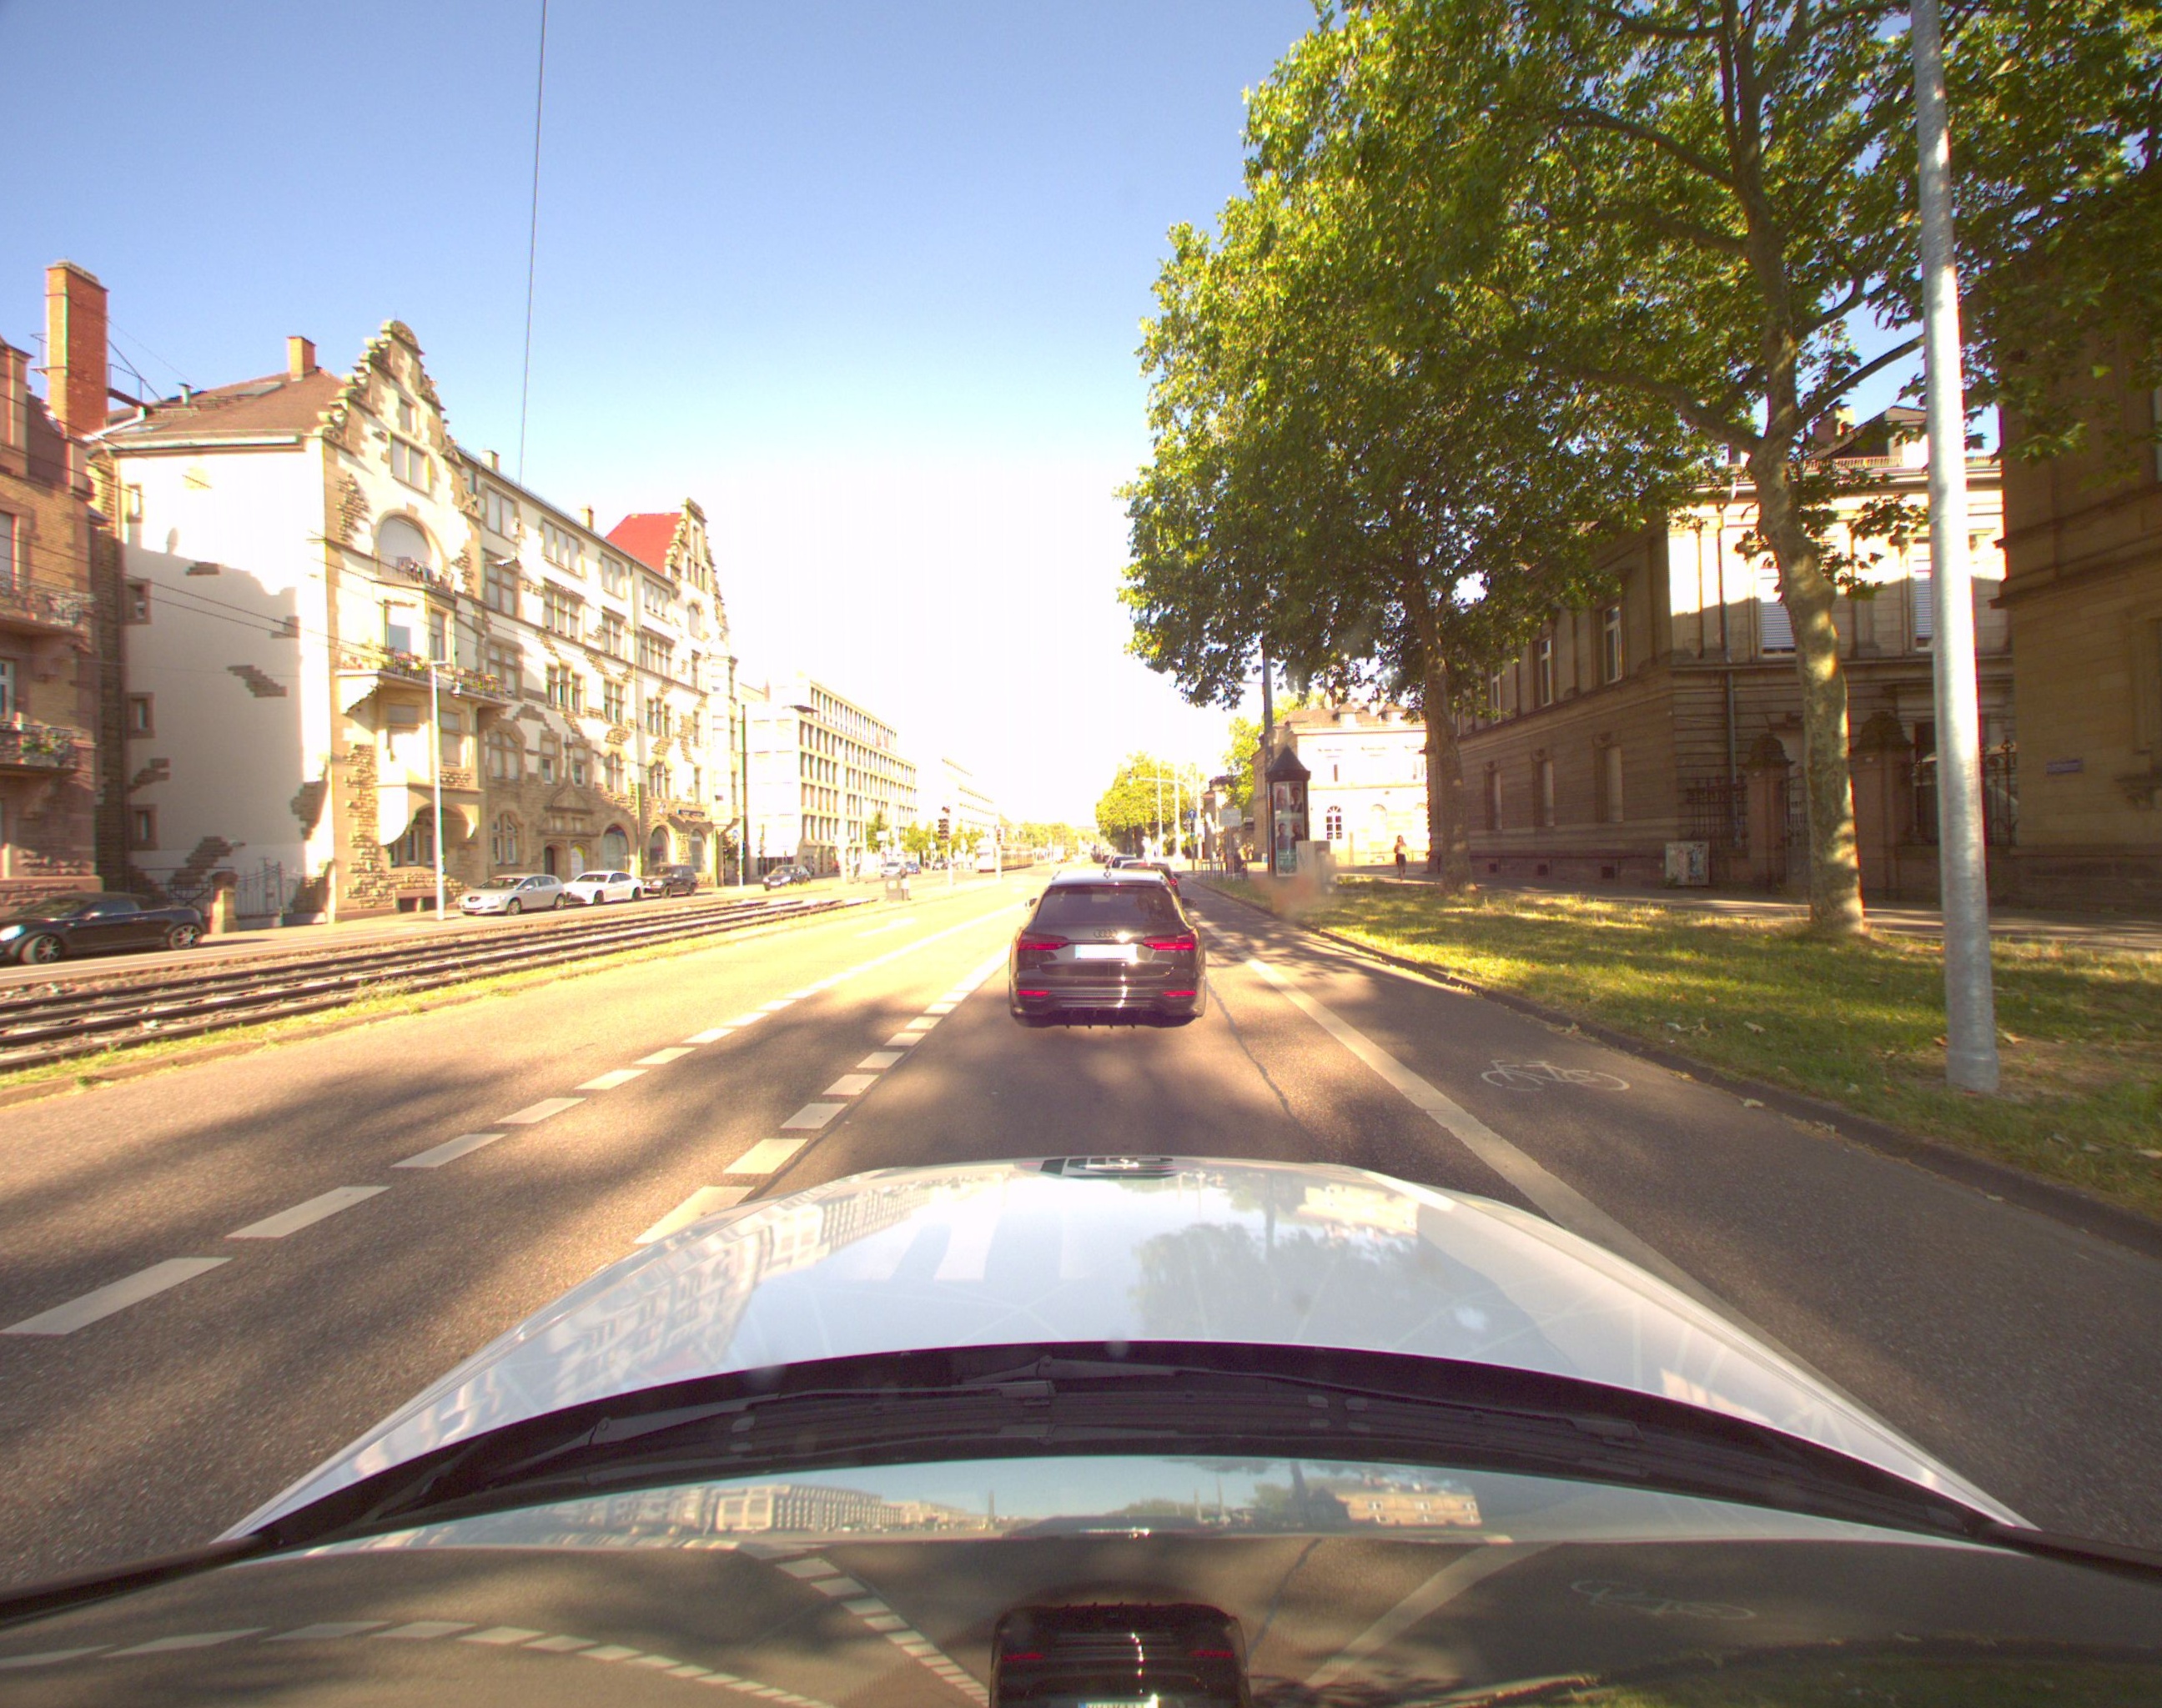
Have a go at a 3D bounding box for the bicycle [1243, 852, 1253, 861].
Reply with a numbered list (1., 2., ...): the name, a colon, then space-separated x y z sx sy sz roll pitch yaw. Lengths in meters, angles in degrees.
1. bicycle: 21.410 0.308 104.666 0.525 1.047 2.354 -2 0 -6

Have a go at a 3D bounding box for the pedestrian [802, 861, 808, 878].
1. pedestrian: -31.404 1.755 92.523 0.475 1.843 0.438 -2 0 -36

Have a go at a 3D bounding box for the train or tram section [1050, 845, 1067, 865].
1. train or tram section: -4.044 0.155 149.531 2.600 3.451 11.133 -2 0 1

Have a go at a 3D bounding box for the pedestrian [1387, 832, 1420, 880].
1. pedestrian: 11.820 0.074 29.867 0.766 1.709 1.043 -2 0 4

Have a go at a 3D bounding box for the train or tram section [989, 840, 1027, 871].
1. train or tram section: -8.925 0.121 101.367 2.802 3.489 13.211 -2 0 2

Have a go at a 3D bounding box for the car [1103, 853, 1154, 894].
1. car: 1.909 0.730 32.807 1.895 1.486 4.147 -1 0 3

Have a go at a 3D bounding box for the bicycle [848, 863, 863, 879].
1. bicycle: -20.375 1.560 73.630 0.682 1.382 1.949 -2 0 4

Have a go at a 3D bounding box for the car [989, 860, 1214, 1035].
1. car: 0.271 0.823 9.042 1.895 1.421 4.147 -1 0 3

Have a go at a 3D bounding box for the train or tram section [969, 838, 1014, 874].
1. train or tram section: -9.473 0.162 88.158 2.802 3.489 13.211 -2 0 2

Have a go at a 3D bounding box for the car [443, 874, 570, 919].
1. car: -21.158 1.508 30.237 1.704 1.431 4.223 0 0 0

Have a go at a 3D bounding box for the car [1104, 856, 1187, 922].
1. car: 1.596 0.817 20.926 1.895 1.486 4.147 -1 0 3

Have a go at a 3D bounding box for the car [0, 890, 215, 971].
1. car: -21.543 1.556 17.573 1.616 1.354 3.727 1 0 1

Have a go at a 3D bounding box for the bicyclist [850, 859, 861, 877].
1. bicyclist: -20.384 1.295 73.604 0.682 1.563 0.786 -2 0 3

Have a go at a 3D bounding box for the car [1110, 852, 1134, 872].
1. car: 3.317 0.634 66.121 1.895 1.486 4.147 -1 0 3

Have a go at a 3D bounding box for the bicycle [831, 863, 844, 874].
1. bicycle: -28.676 1.752 95.894 0.573 1.215 2.391 -2 0 4

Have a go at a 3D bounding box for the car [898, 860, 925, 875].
1. car: -18.136 1.463 87.090 1.813 1.457 4.159 -2 0 2

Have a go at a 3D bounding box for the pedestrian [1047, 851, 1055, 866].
1. pedestrian: -3.601 0.515 98.355 0.741 1.741 0.660 -2 0 -14

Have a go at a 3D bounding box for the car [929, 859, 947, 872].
1. car: -21.713 1.749 124.030 1.835 1.812 4.114 -2 0 1

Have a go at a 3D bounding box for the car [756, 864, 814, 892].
1. car: -17.277 1.374 47.764 1.814 1.457 4.164 -2 0 -1

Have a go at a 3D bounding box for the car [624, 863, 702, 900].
1. car: -21.034 1.349 41.179 1.711 1.675 4.217 0 0 1

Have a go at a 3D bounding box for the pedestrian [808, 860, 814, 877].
1. pedestrian: -30.751 1.671 92.801 0.535 1.843 0.438 -2 0 -36

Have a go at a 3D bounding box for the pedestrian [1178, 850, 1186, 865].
1. pedestrian: 10.914 0.387 87.804 0.679 1.660 0.758 -2 0 0

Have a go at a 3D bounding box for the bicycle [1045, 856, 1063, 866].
1. bicycle: -3.205 0.774 96.779 2.009 1.108 0.760 -2 0 -16

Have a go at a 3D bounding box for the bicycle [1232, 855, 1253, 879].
1. bicycle: 7.387 0.595 37.297 0.538 1.061 1.770 -2 0 -1

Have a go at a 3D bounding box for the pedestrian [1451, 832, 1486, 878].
1. pedestrian: 14.039 0.036 29.509 0.766 1.606 0.987 -2 0 4

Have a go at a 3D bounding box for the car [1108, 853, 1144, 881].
1. car: 2.546 0.717 46.095 1.895 1.486 4.147 -1 0 3

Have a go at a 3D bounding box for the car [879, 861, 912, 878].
1. car: -16.879 1.401 74.398 1.813 1.457 4.542 -2 0 2

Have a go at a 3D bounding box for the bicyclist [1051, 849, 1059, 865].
1. bicyclist: -3.139 0.325 96.811 0.758 1.818 0.760 -2 0 -15

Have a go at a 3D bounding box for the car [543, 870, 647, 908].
1. car: -21.194 1.492 35.782 1.711 1.423 4.656 0 0 1

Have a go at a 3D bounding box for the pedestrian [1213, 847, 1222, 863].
1. pedestrian: 16.127 0.098 96.079 0.975 1.865 0.827 -2 0 3
